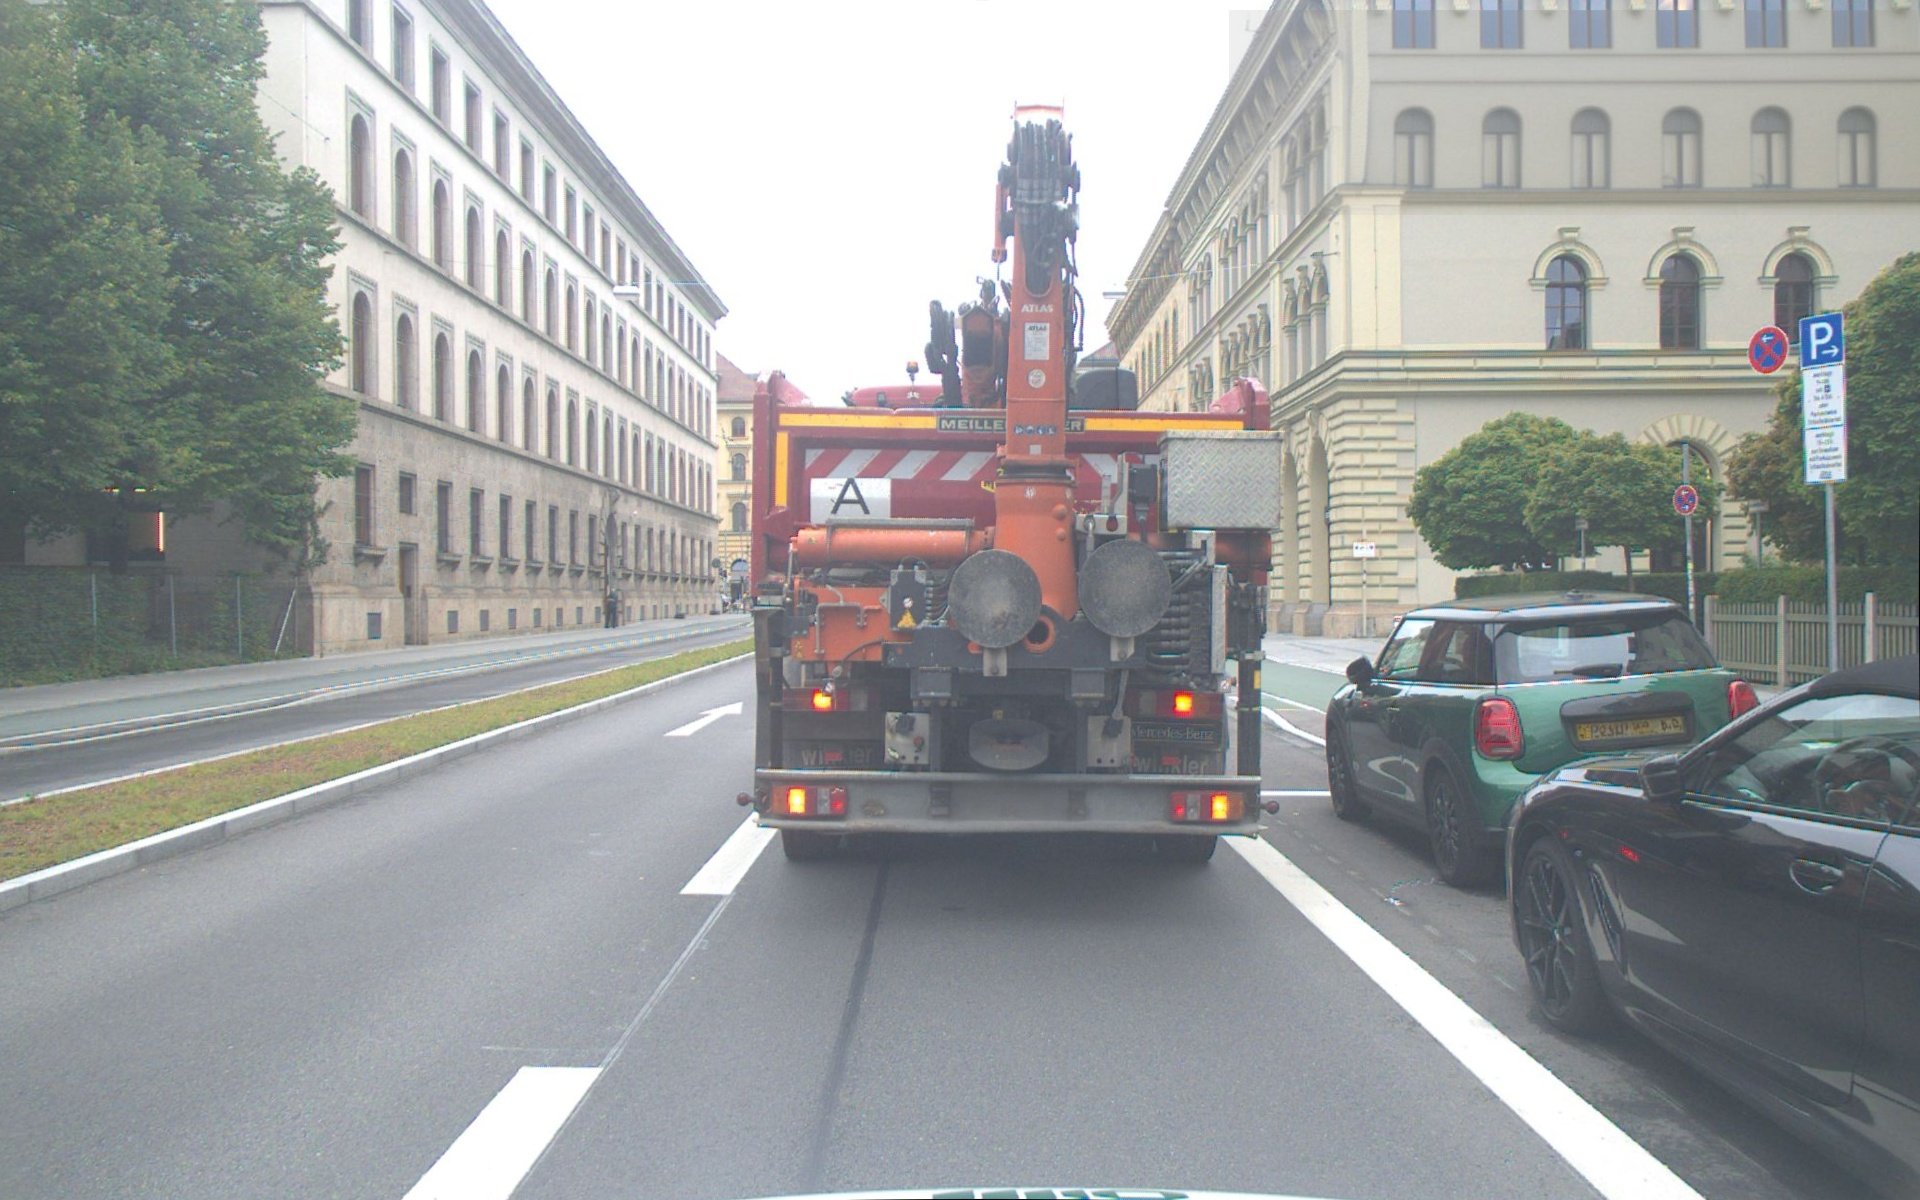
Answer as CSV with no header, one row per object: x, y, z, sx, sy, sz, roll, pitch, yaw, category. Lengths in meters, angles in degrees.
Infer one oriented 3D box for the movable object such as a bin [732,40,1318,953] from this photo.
0.210,-0.436,9.617,2.374,3.674,5.850,0,0,-1,movable object such as a bin

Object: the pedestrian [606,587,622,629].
-15.407,0.347,73.656,0.577,1.863,0.498,0,0,-2,pedestrian

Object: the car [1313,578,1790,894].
3.260,0.652,9.802,1.577,1.521,3.424,-1,0,0,car

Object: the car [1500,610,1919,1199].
2.878,0.769,4.043,1.646,1.410,4.426,1,0,0,car

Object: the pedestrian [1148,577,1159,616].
9.442,-0.172,80.752,0.436,1.868,0.556,0,0,1,pedestrian
